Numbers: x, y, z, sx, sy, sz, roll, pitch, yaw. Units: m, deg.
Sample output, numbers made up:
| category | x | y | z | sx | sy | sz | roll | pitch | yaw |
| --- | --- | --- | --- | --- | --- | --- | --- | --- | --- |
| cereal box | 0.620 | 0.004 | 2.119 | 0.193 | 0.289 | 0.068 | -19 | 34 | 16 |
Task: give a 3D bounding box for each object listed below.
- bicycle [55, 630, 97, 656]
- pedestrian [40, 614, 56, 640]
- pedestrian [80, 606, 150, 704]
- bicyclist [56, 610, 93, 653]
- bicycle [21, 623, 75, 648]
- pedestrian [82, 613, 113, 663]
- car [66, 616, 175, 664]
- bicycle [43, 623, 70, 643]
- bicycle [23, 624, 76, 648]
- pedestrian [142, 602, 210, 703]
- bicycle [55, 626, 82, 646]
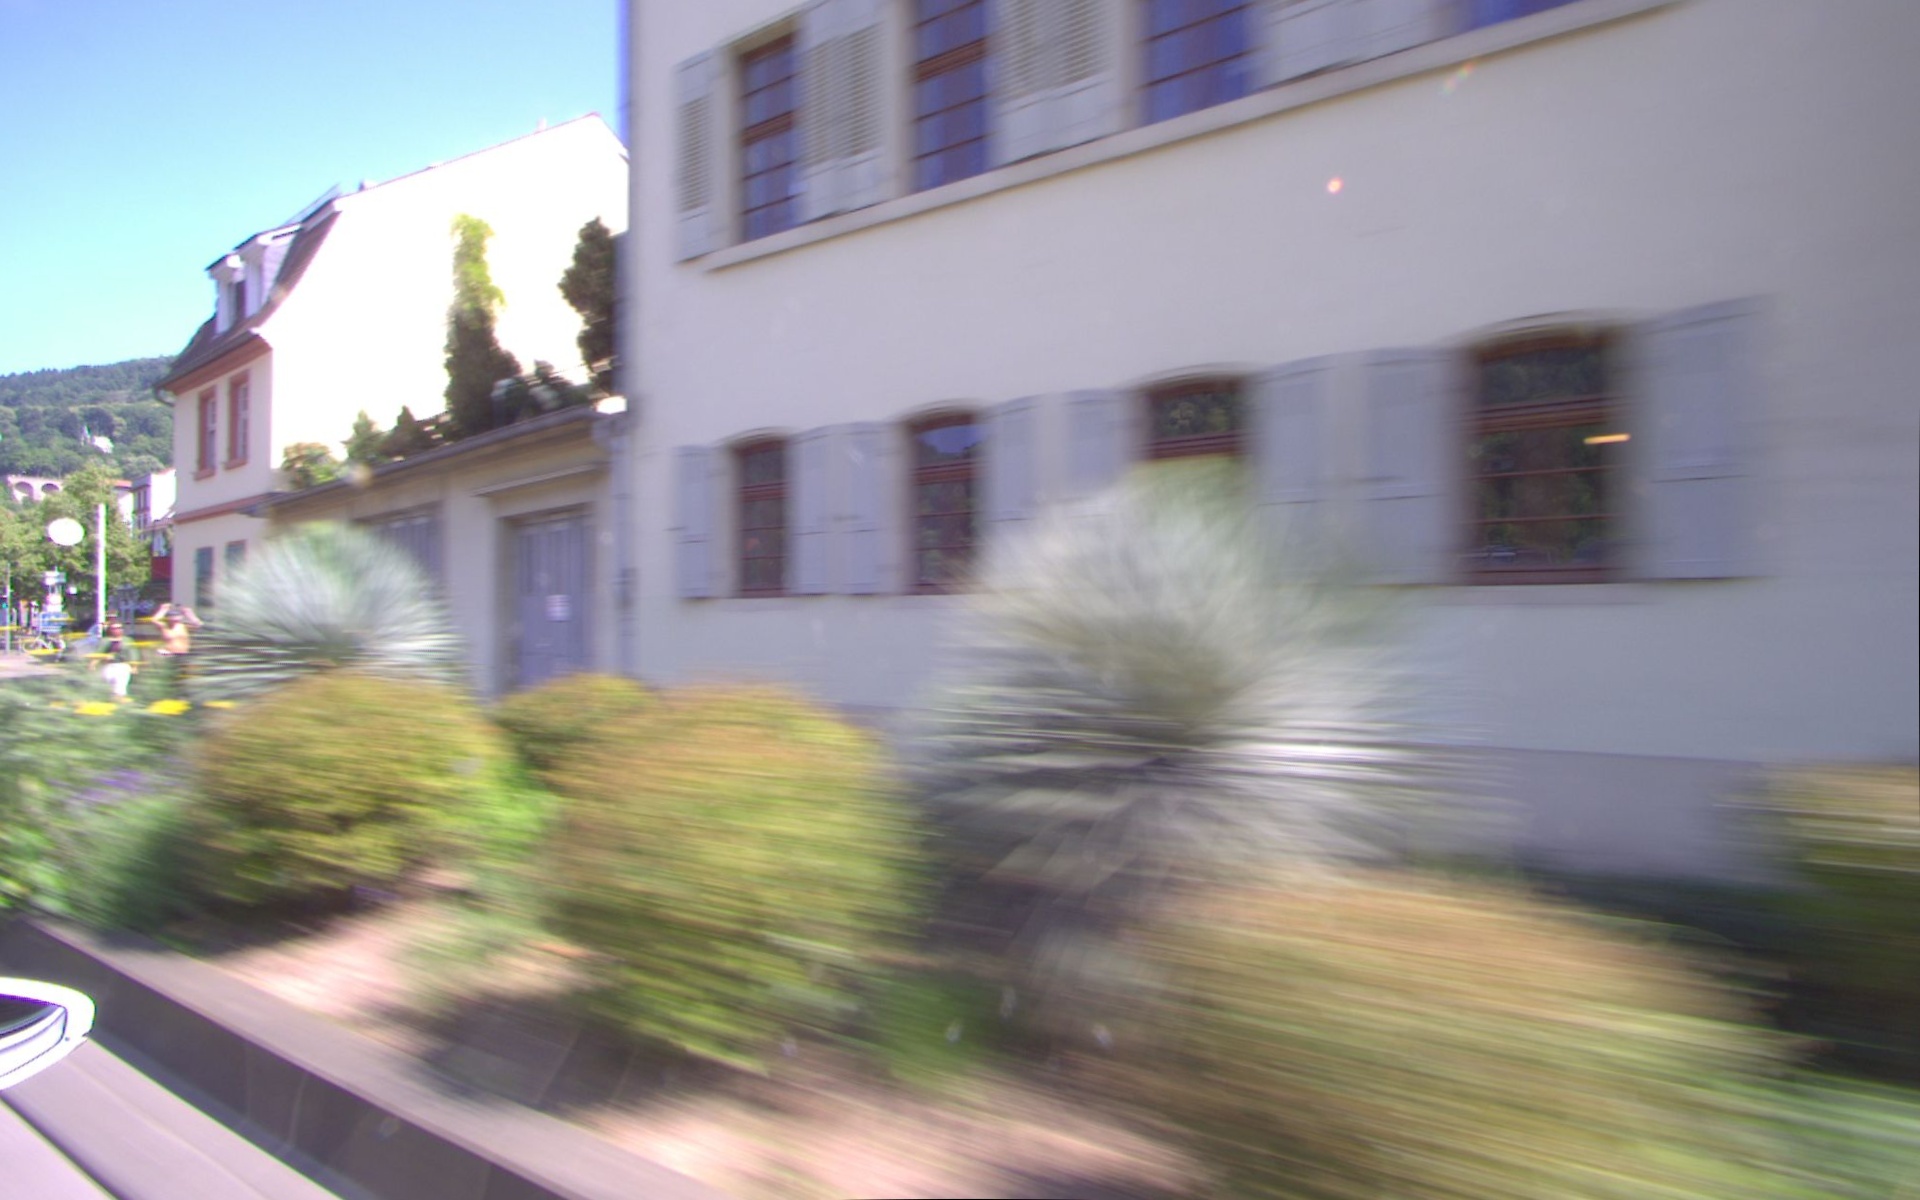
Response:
| category | x | y | z | sx | sy | sz | roll | pitch | yaw |
| --- | --- | --- | --- | --- | --- | --- | --- | --- | --- |
| bicycle | -33.647 | 1.632 | 38.107 | 1.757 | 0.976 | 0.748 | -1 | -2 | 33 |
| pedestrian | -59.890 | 1.787 | 65.757 | 0.699 | 1.674 | 0.703 | 0 | -1 | 45 |
| pedestrian | -14.352 | 0.915 | 17.009 | 0.687 | 1.615 | 0.759 | 0 | -1 | 36 |
| bicyclist | -33.798 | 1.193 | 38.232 | 1.073 | 1.604 | 0.765 | 0 | -1 | 30 |
| bicycle | -47.842 | 1.864 | 52.561 | 1.980 | 1.213 | 0.518 | 4 | -2 | -35 |
| pedestrian | -32.890 | 1.445 | 38.183 | 0.602 | 1.883 | 0.759 | 0 | 1 | 36 |
| car | -30.003 | 1.403 | 35.745 | 4.664 | 1.597 | 1.872 | -1 | -2 | 35 |
| bicycle | -48.864 | 1.781 | 54.175 | 0.587 | 1.081 | 2.057 | 0 | -1 | -27 |
| bicycle | -48.138 | 1.894 | 52.971 | 1.993 | 1.213 | 0.518 | 3 | -2 | -35 |
| pedestrian | -13.893 | 0.909 | 17.753 | 0.921 | 1.721 | 0.735 | 0 | 0 | 36 |
| bicycle | -48.365 | 1.964 | 54.325 | 0.587 | 1.081 | 2.058 | 0 | -2 | -27 |
